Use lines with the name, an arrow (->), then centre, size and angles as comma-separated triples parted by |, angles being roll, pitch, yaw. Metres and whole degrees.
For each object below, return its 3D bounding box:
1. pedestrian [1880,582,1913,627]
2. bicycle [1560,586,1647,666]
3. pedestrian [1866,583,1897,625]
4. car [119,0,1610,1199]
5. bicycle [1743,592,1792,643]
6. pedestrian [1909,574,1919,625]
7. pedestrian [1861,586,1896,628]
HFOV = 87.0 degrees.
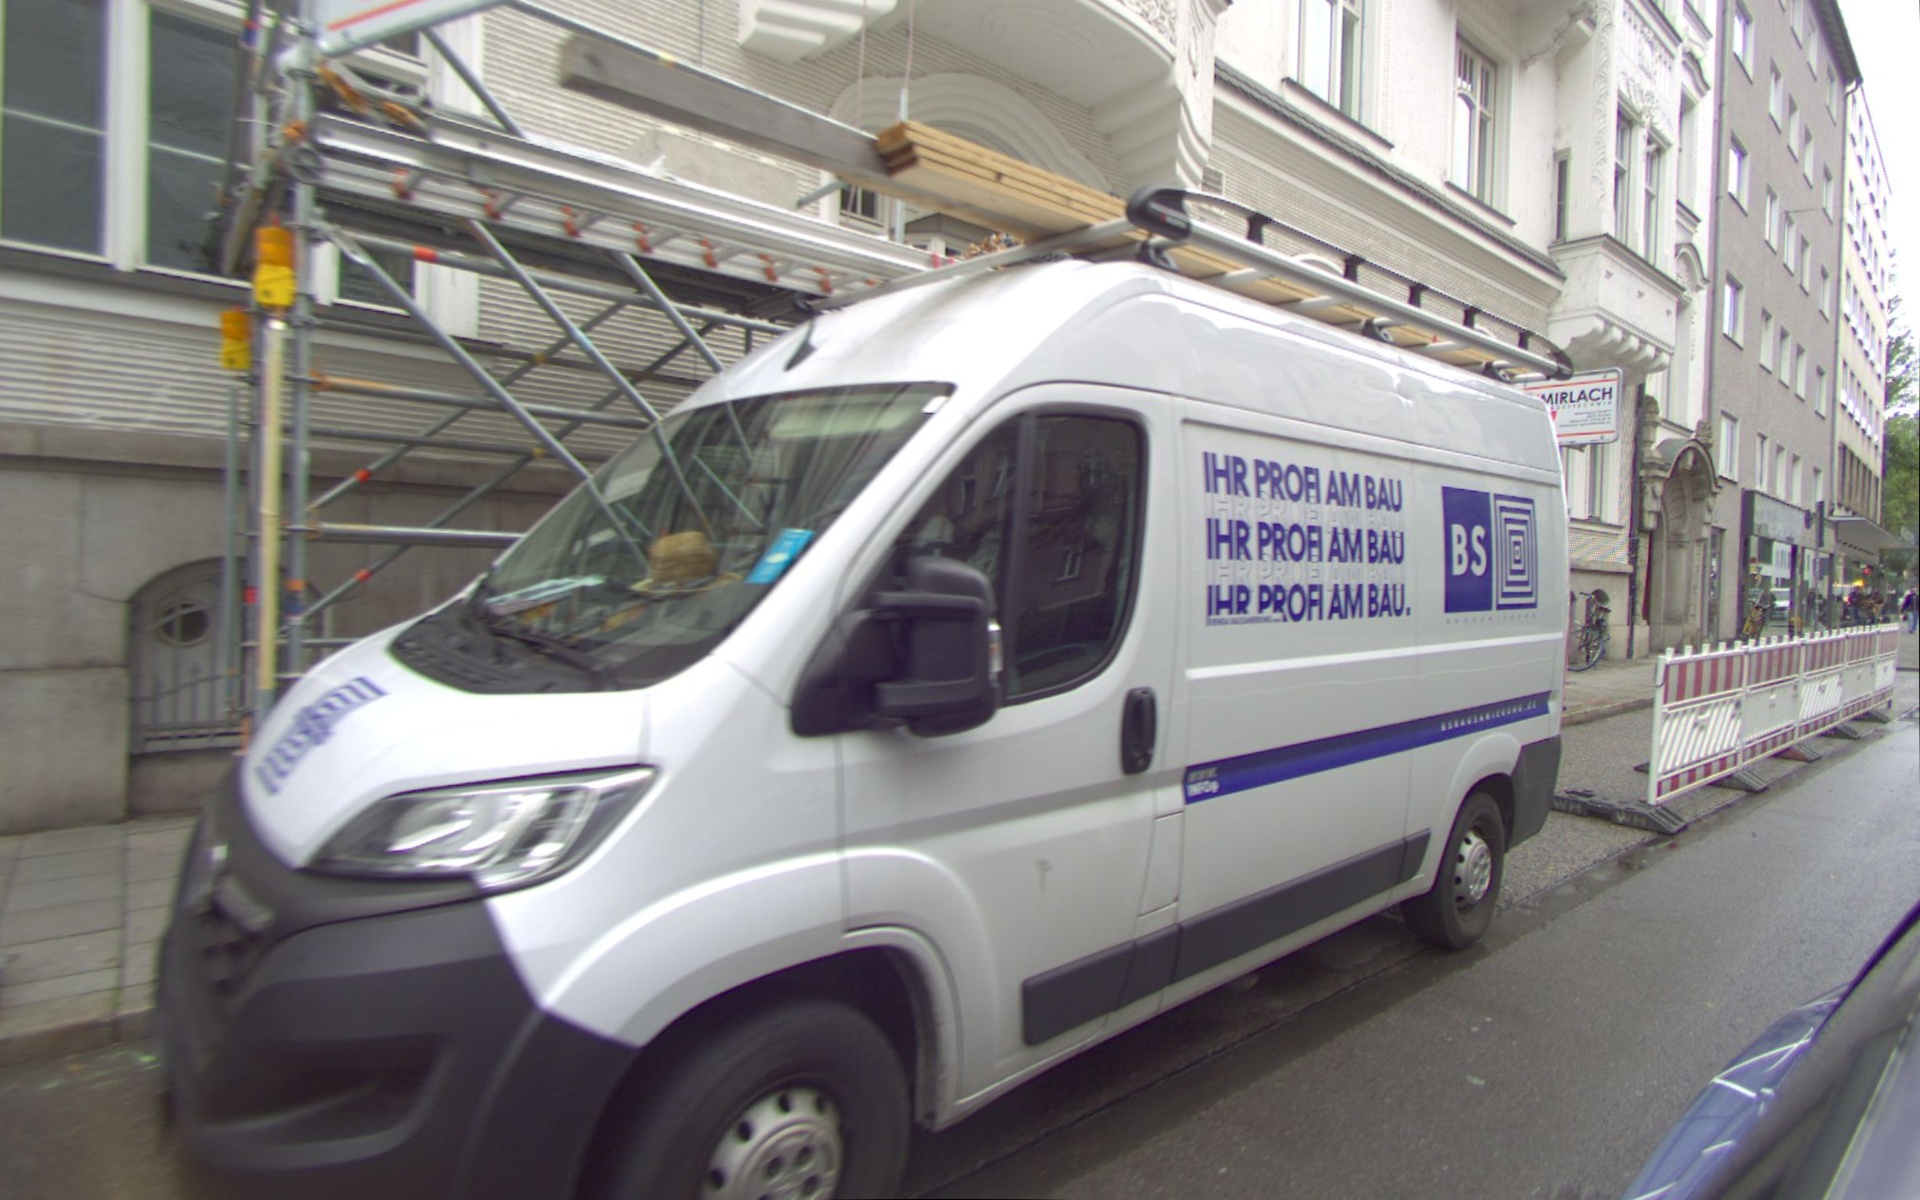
pedestrian -> 34.199, 0.153, 36.951 | 0.835, 1.609, 0.793 | 3, 2, 44
bicycle -> 10.238, 0.386, 16.076 | 1.624, 1.186, 0.684 | 0, 2, -40
pedestrian -> 32.922, 0.138, 36.155 | 0.561, 1.465, 0.747 | 0, 2, -41
car -> 0.334, -0.026, 3.817 | 5.351, 2.721, 2.081 | 0, 3, -42
bicycle -> 19.107, 0.391, 23.931 | 1.814, 1.131, 0.592 | 0, 2, -42
pedestrian -> 35.373, -0.011, 37.073 | 0.807, 1.883, 0.825 | 0, 1, -43
pedestrian -> 32.021, 0.220, 35.291 | 0.835, 1.424, 0.852 | 3, 2, 44
